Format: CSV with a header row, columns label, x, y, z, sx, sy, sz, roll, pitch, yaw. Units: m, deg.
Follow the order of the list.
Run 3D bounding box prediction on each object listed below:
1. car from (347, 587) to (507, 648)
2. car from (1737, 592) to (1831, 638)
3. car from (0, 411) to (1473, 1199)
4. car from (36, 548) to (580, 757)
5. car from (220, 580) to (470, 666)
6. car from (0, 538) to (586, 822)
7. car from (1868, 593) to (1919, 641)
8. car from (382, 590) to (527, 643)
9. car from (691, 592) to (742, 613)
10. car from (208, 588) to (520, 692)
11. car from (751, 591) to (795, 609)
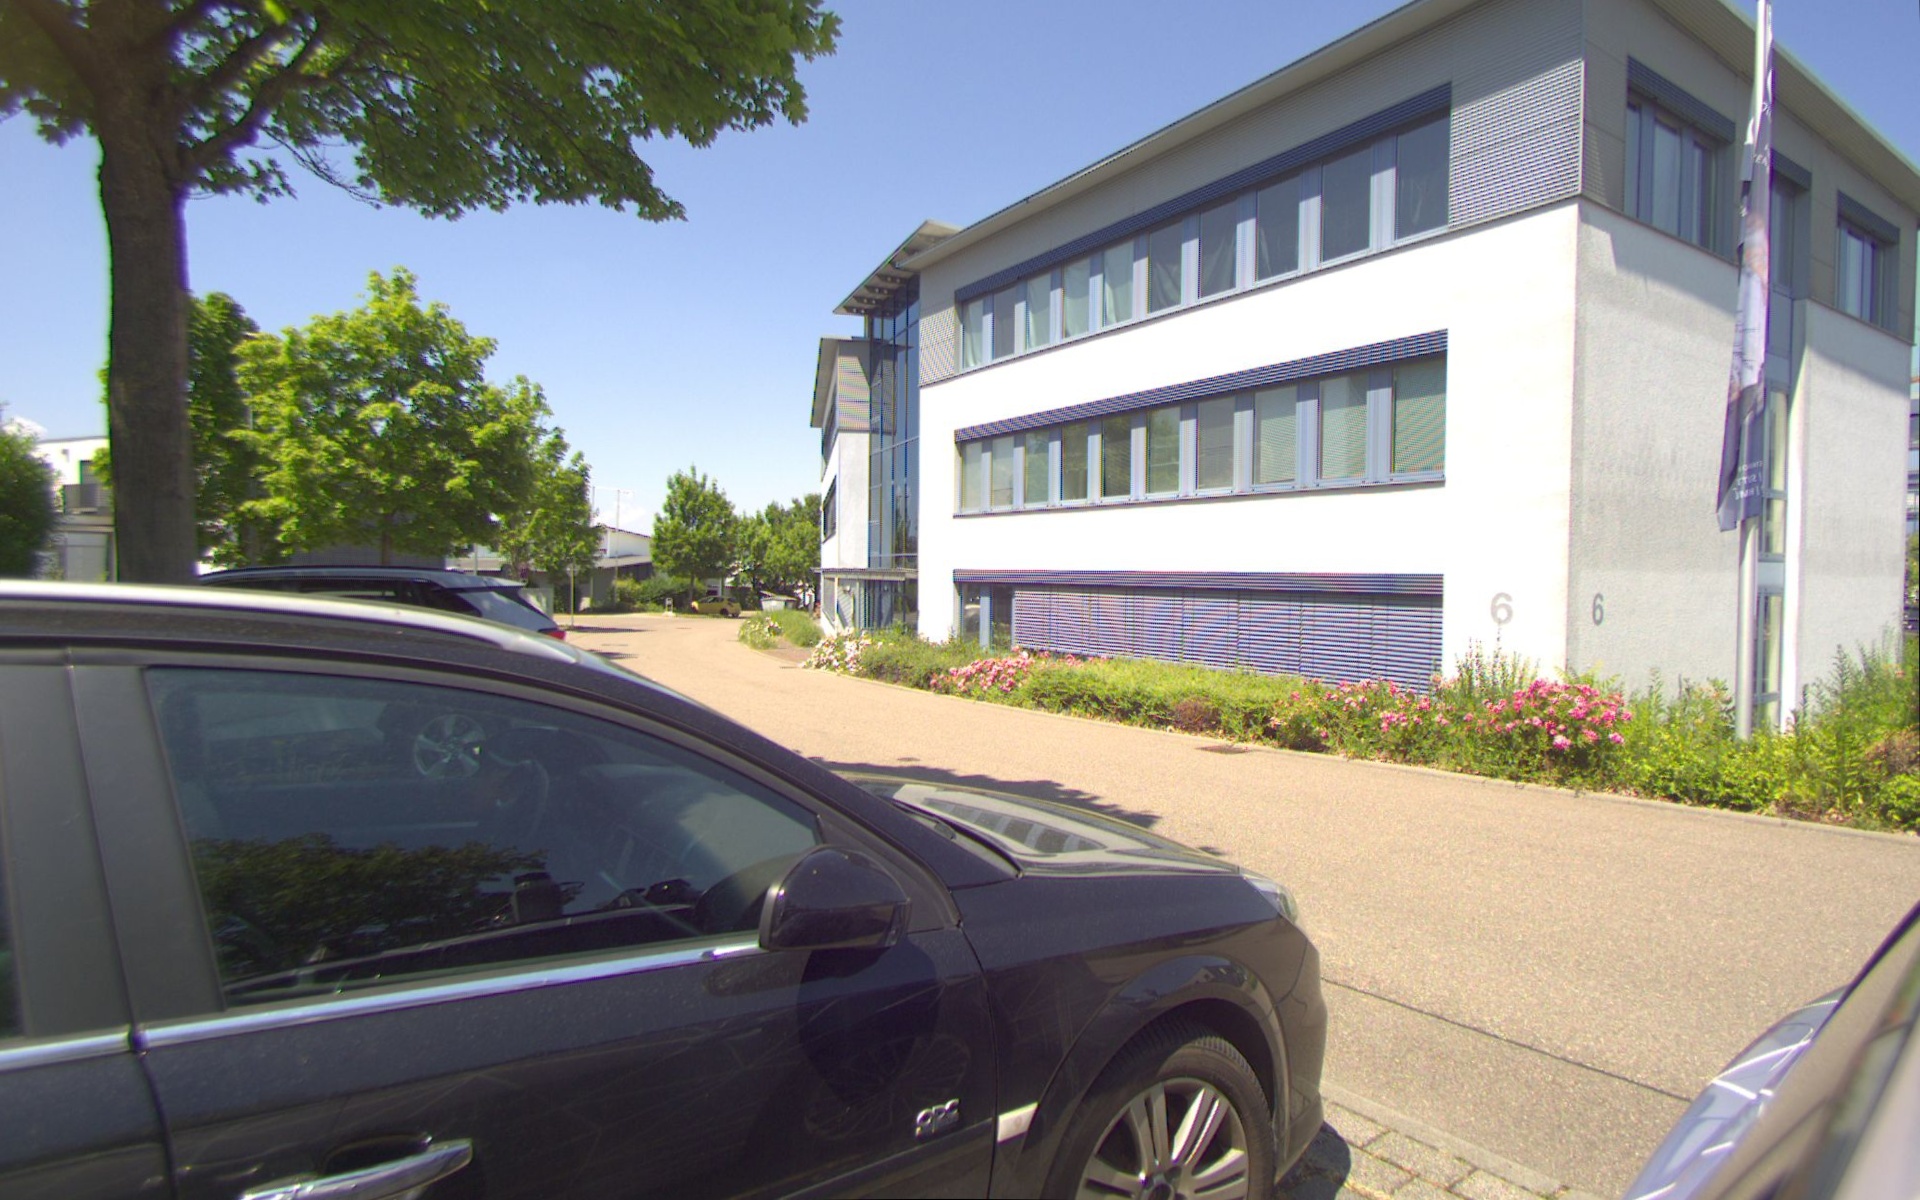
label,x,y,z,sx,sy,sz,roll,pitch,yaw
car,-14.234,0.466,27.212,3.514,1.545,1.639,1,-1,-17
car,30.593,0.517,37.549,3.925,1.565,1.788,-1,1,-36
car,-1.046,0.607,1.865,4.480,1.569,1.763,0,0,-37
car,-6.081,0.447,9.898,4.122,1.664,1.661,1,-1,-35
car,-12.413,0.470,20.724,4.090,1.625,1.664,1,-1,-21
car,-5.177,0.484,7.392,4.249,1.664,1.857,1,-1,-35
car,32.696,0.540,34.521,3.925,1.565,1.788,-1,1,-36
car,-14.676,0.471,29.562,3.514,1.461,1.639,1,-1,-17
car,-17.120,0.152,71.182,3.172,1.460,1.580,0,0,18
car,-9.364,0.607,16.253,4.092,1.505,1.663,1,-1,-27
car,-15.248,-0.016,82.379,3.172,1.460,1.580,0,0,18
